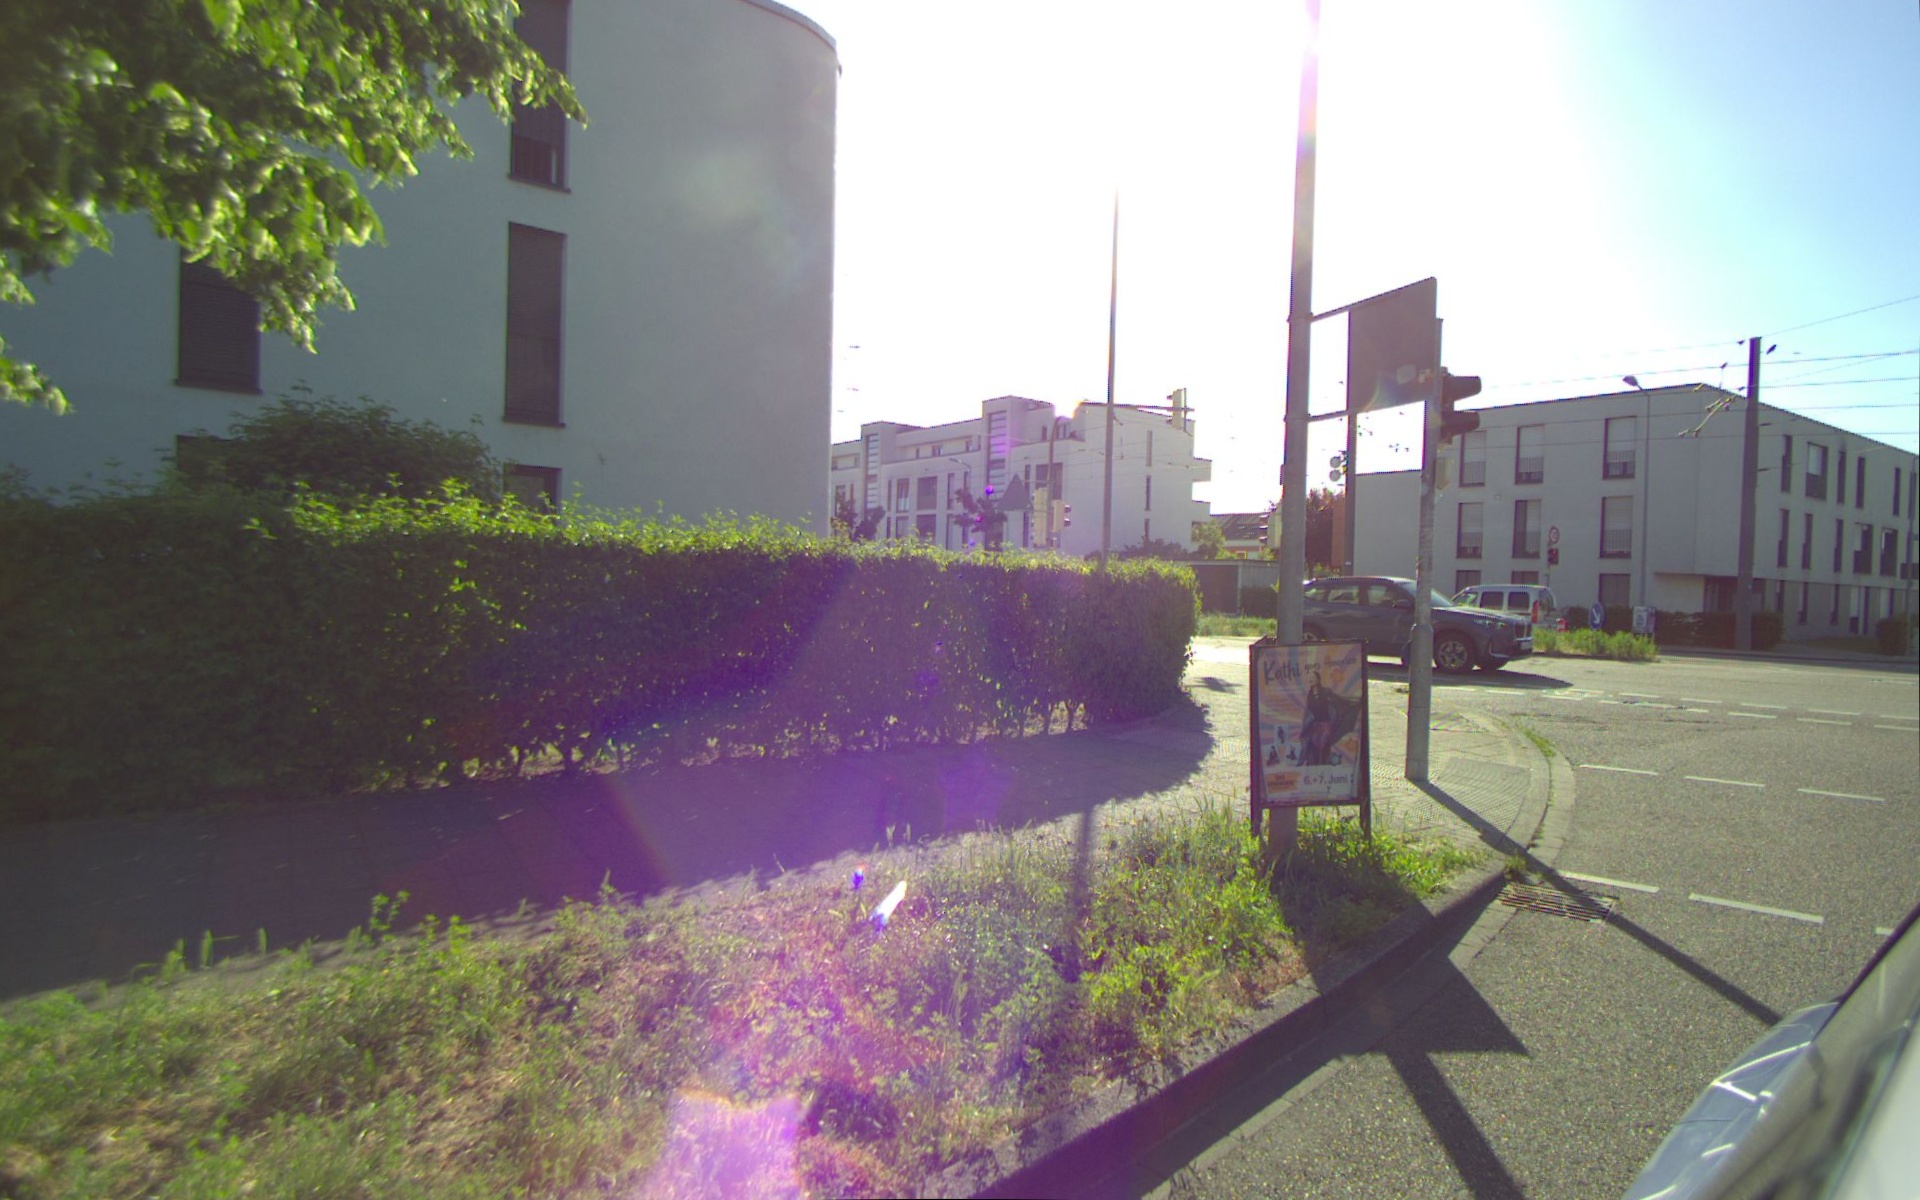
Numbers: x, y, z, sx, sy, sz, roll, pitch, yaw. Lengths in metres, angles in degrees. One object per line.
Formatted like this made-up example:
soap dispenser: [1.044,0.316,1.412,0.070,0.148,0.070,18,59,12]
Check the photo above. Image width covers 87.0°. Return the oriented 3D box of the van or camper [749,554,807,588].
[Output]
van or camper: [-13.828,-2.216,76.787,2.158,2.495,5.259,1,1,-37]

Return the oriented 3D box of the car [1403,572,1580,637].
car: [16.191,0.096,31.011,1.962,1.777,4.363,1,2,-35]

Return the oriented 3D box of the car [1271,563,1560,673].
car: [8.207,0.201,18.556,1.966,1.693,4.402,-2,3,-41]
